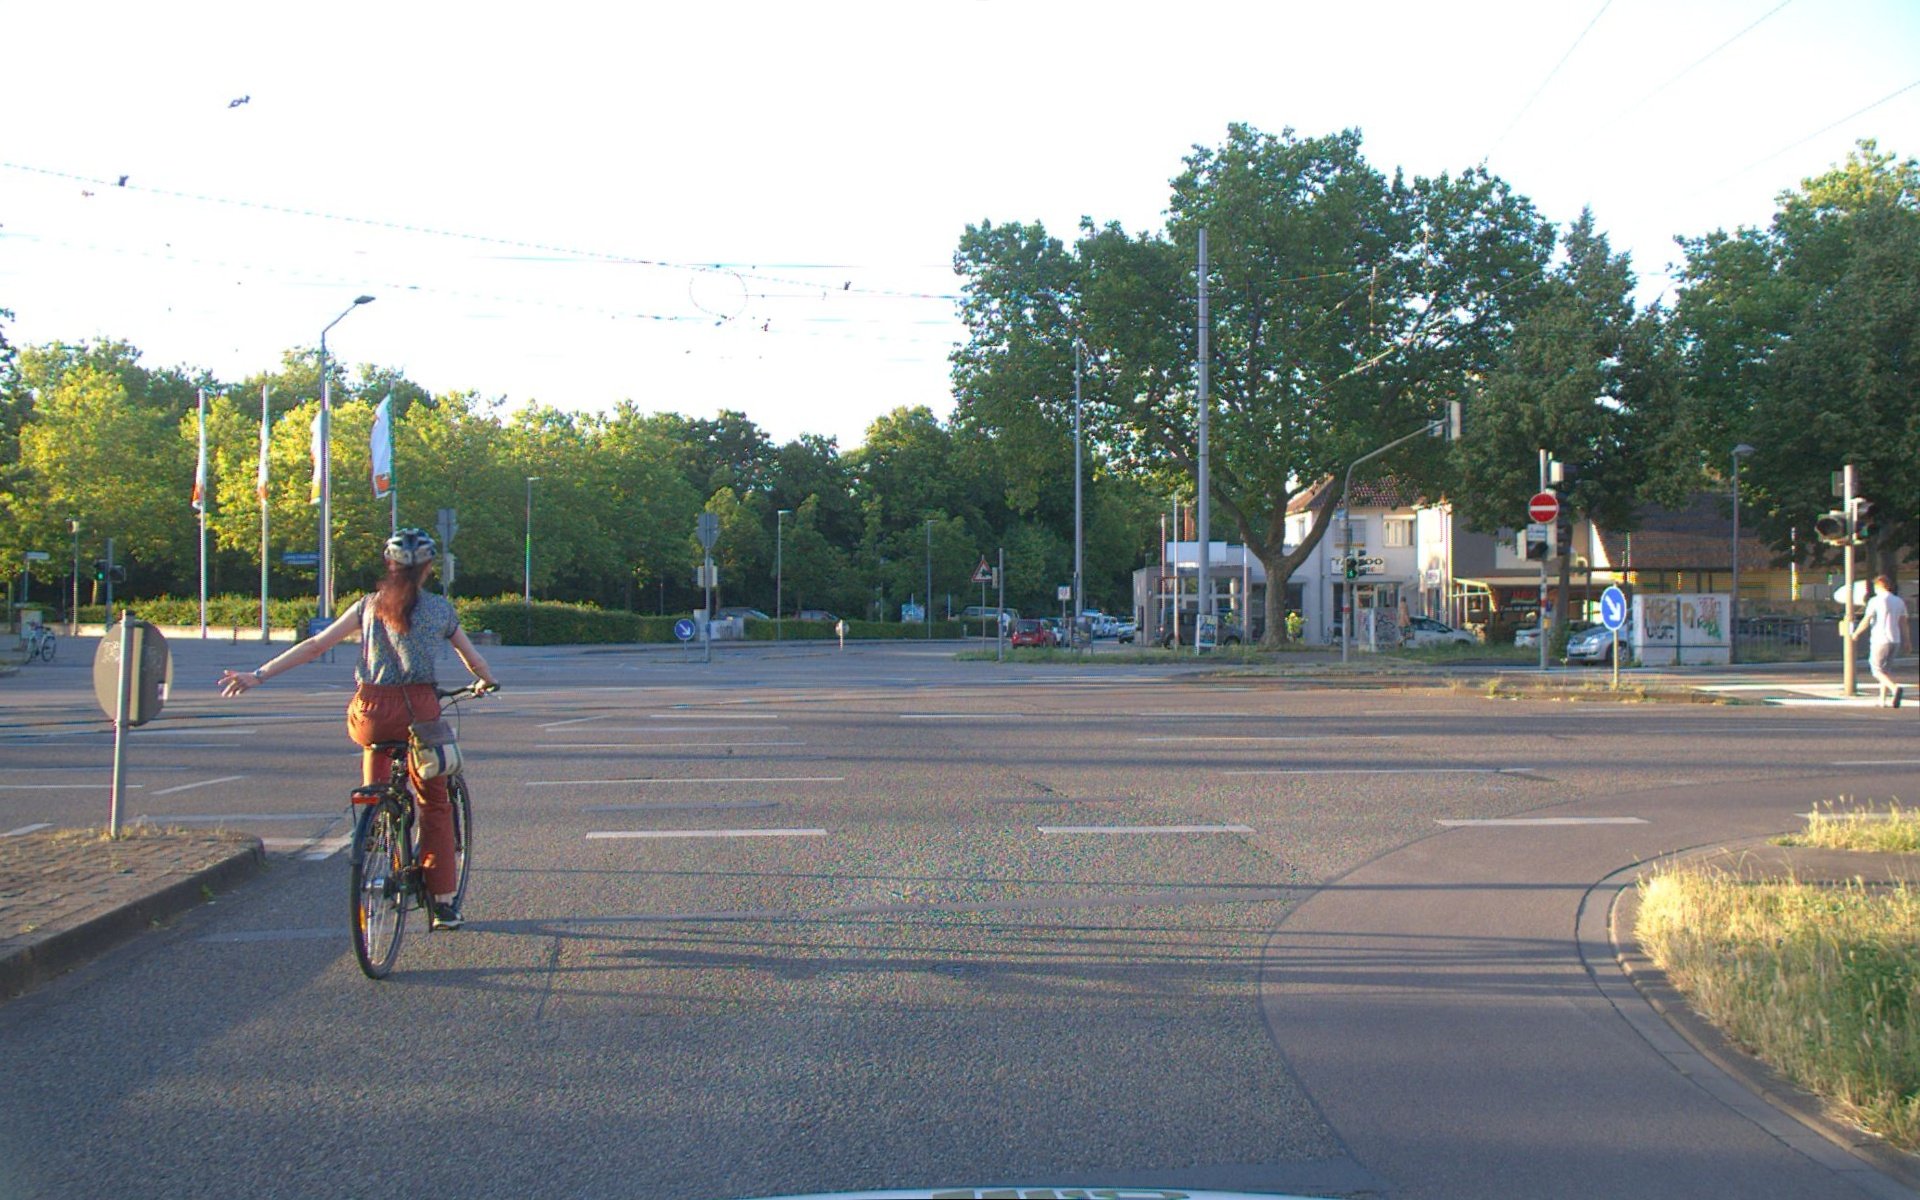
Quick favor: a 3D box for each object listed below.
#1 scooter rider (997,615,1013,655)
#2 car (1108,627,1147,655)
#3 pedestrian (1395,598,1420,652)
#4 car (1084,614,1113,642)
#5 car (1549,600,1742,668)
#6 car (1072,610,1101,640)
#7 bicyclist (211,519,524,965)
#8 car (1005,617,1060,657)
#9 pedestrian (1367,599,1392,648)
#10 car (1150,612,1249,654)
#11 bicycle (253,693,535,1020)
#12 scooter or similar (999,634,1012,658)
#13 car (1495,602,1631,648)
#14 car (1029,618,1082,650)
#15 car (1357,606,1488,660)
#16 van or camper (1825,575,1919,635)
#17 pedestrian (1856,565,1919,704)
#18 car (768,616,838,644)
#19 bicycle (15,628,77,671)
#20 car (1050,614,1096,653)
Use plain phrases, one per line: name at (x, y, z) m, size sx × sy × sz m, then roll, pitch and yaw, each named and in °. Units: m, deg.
scooter rider at (2.151, 1.686, 78.795) m, size 0.688 × 1.887 × 0.668 m, roll 0°, pitch -2°, yaw -5°
car at (10.309, 2.507, 101.685) m, size 1.874 × 1.631 × 4.003 m, roll 0°, pitch -1°, yaw 13°
pedestrian at (14.911, 0.824, 55.101) m, size 0.703 × 1.785 × 0.897 m, roll -1°, pitch -1°, yaw 20°
car at (10.227, 2.035, 122.467) m, size 1.952 × 2.049 × 4.001 m, roll 0°, pitch -1°, yaw 3°
car at (18.238, 0.898, 44.091) m, size 4.449 × 1.758 × 1.858 m, roll 0°, pitch -1°, yaw -9°
car at (8.975, 1.761, 117.791) m, size 1.952 × 2.049 × 4.001 m, roll 0°, pitch -1°, yaw 3°
bicyclist at (-2.462, 0.558, 7.018) m, size 1.011 × 1.748 × 0.995 m, roll 0°, pitch -1°, yaw -5°
car at (3.602, 1.825, 81.853) m, size 1.829 × 1.907 × 3.876 m, roll 0°, pitch -1°, yaw 17°
pedestrian at (14.250, 0.795, 56.161) m, size 0.703 × 1.668 × 0.897 m, roll -1°, pitch -1°, yaw 20°
car at (10.914, 1.483, 75.636) m, size 4.287 × 1.867 × 1.949 m, roll 0°, pitch -1°, yaw 1°
bicycle at (-2.332, 0.990, 7.089) m, size 0.622 × 1.086 × 2.120 m, roll 0°, pitch -1°, yaw -4°
scooter or similar at (2.160, 2.170, 78.835) m, size 0.500 × 1.109 × 1.242 m, roll 0°, pitch -1°, yaw -4°
car at (21.593, 0.908, 59.355) m, size 4.144 × 1.605 × 1.999 m, roll 0°, pitch -1°, yaw -2°
car at (4.998, 1.741, 85.737) m, size 1.951 × 1.601 × 4.003 m, roll 0°, pitch -1°, yaw 15°
car at (16.625, 1.170, 59.549) m, size 4.144 × 1.879 × 1.999 m, roll 0°, pitch -1°, yaw -2°
van or camper at (39.704, 0.225, 68.628) m, size 6.429 × 2.452 × 2.264 m, roll 0°, pitch -2°, yaw 0°
pedestrian at (12.492, 0.455, 22.237) m, size 0.746 × 1.822 × 0.801 m, roll 0°, pitch -1°, yaw 26°
car at (-8.986, 1.717, 94.735) m, size 3.907 × 1.588 × 1.999 m, roll 0°, pitch -1°, yaw -3°
bicycle at (-25.977, 1.396, 47.067) m, size 0.685 × 1.156 × 2.389 m, roll 0°, pitch -1°, yaw -7°
car at (6.154, 1.803, 89.651) m, size 1.874 × 2.083 × 4.003 m, roll 0°, pitch -1°, yaw 13°
